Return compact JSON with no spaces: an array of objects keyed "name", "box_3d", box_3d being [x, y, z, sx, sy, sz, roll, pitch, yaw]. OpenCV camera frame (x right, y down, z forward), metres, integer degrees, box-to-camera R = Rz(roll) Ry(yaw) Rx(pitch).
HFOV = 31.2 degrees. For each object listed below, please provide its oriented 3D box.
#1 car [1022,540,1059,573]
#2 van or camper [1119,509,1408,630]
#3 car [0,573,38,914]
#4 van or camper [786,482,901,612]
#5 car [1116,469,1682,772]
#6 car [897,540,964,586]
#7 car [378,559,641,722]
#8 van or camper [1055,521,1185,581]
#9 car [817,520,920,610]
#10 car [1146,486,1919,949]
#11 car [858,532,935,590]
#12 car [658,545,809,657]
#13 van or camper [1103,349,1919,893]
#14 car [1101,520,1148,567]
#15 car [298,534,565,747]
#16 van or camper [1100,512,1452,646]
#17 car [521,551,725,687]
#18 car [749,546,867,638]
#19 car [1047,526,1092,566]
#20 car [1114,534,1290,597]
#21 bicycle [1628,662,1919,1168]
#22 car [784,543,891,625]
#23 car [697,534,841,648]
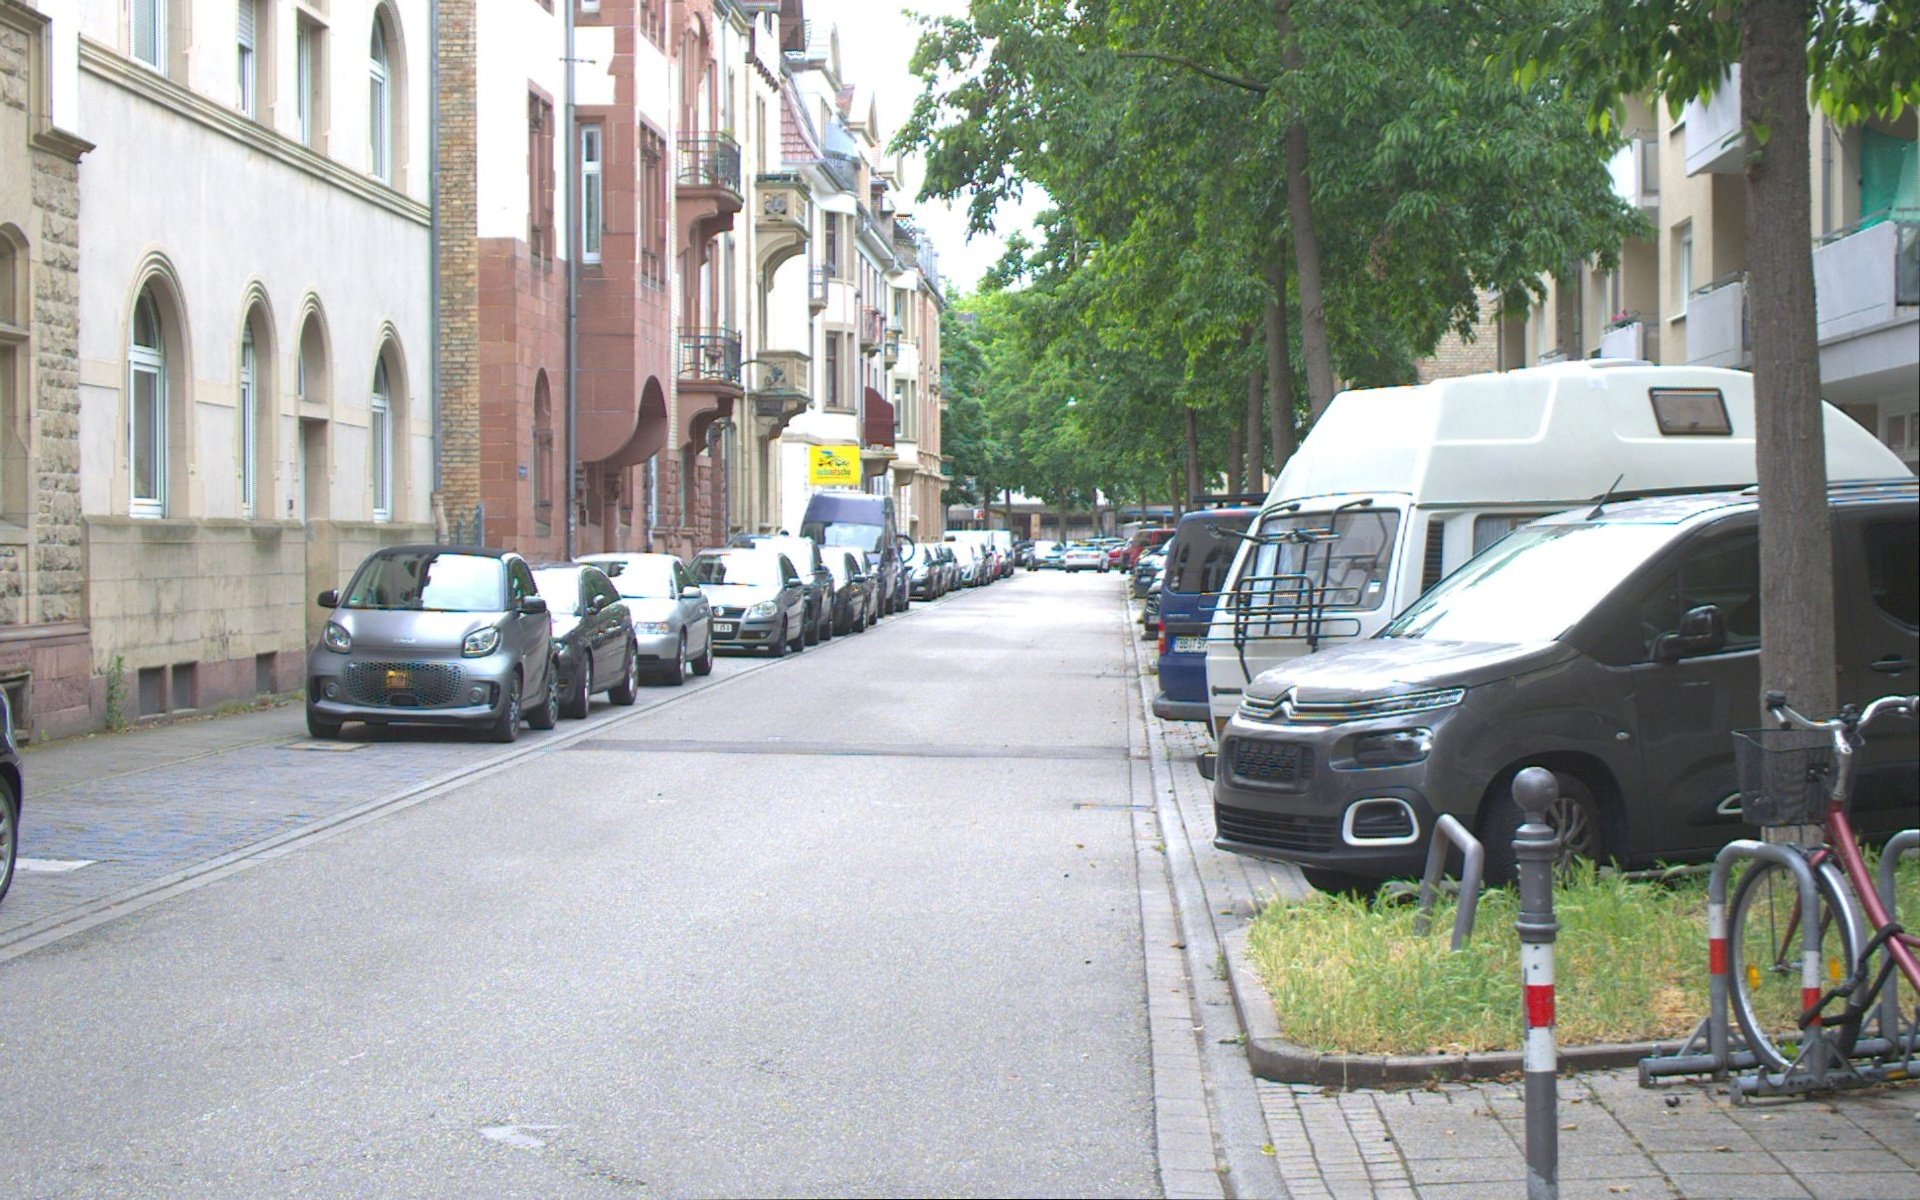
[{"name":"car","box_3d":[4.135,-2.236,177.137,1.821,1.639,3.753,1,0,2]},{"name":"van or camper","box_3d":[5.483,-0.547,62.116,4.728,1.987,2.000,-2,-1,-22]},{"name":"car","box_3d":[-5.152,0.614,13.524,1.709,1.489,3.999,1,0,4]},{"name":"van or camper","box_3d":[-2.436,-1.166,73.209,2.008,2.642,5.316,0,2,3]},{"name":"car","box_3d":[3.511,0.100,27.032,4.387,2.189,2.066,-1,1,-42]},{"name":"car","box_3d":[-0.943,-1.232,113.221,1.994,1.470,4.000,0,1,3]},{"name":"car","box_3d":[-4.127,0.344,32.027,1.726,1.382,3.928,1,0,3]},{"name":"van or camper","box_3d":[5.611,-1.720,120.560,4.146,2.078,1.953,-1,1,-25]},{"name":"car","box_3d":[-2.060,-0.829,78.892,1.994,2.007,4.891,0,1,3]},{"name":"car","box_3d":[3.207,0.431,15.409,4.331,1.847,1.911,-1,1,-22]},{"name":"car","box_3d":[-1.652,-1.039,90.454,1.789,1.475,4.022,1,1,2]},{"name":"car","box_3d":[-3.106,-0.020,47.793,1.662,1.416,3.929,1,2,2]},{"name":"van or camper","box_3d":[3.215,0.057,18.280,4.581,2.587,1.911,-1,1,-30]},{"name":"car","box_3d":[7.487,-2.582,156.958,1.994,2.007,4.000,3,1,2]},{"name":"car","box_3d":[-4.306,0.288,28.375,1.646,1.565,2.957,1,2,2]},{"name":"van or camper","box_3d":[4.919,-0.346,53.433,5.005,1.863,2.127,-2,1,-25]},{"name":"car","box_3d":[-3.781,0.179,39.214,1.726,1.382,4.137,1,2,2]},{"name":"car","box_3d":[-2.588,-0.160,59.176,1.635,1.468,4.000,1,1,3]},{"name":"car","box_3d":[5.061,-2.494,159.527,1.993,1.788,4.000,1,0,1]},{"name":"car","box_3d":[6.089,-0.889,86.499,4.010,1.554,1.885,-1,1,-28]},{"name":"bicycle","box_3d":[2.426,0.787,8.971,0.548,1.169,1.729,-1,1,-19]},{"name":"car","box_3d":[-2.290,-0.305,65.077,1.668,1.468,4.000,1,0,3]},{"name":"car","box_3d":[-2.928,-0.175,53.596,1.786,1.641,4.361,1,2,2]}]
